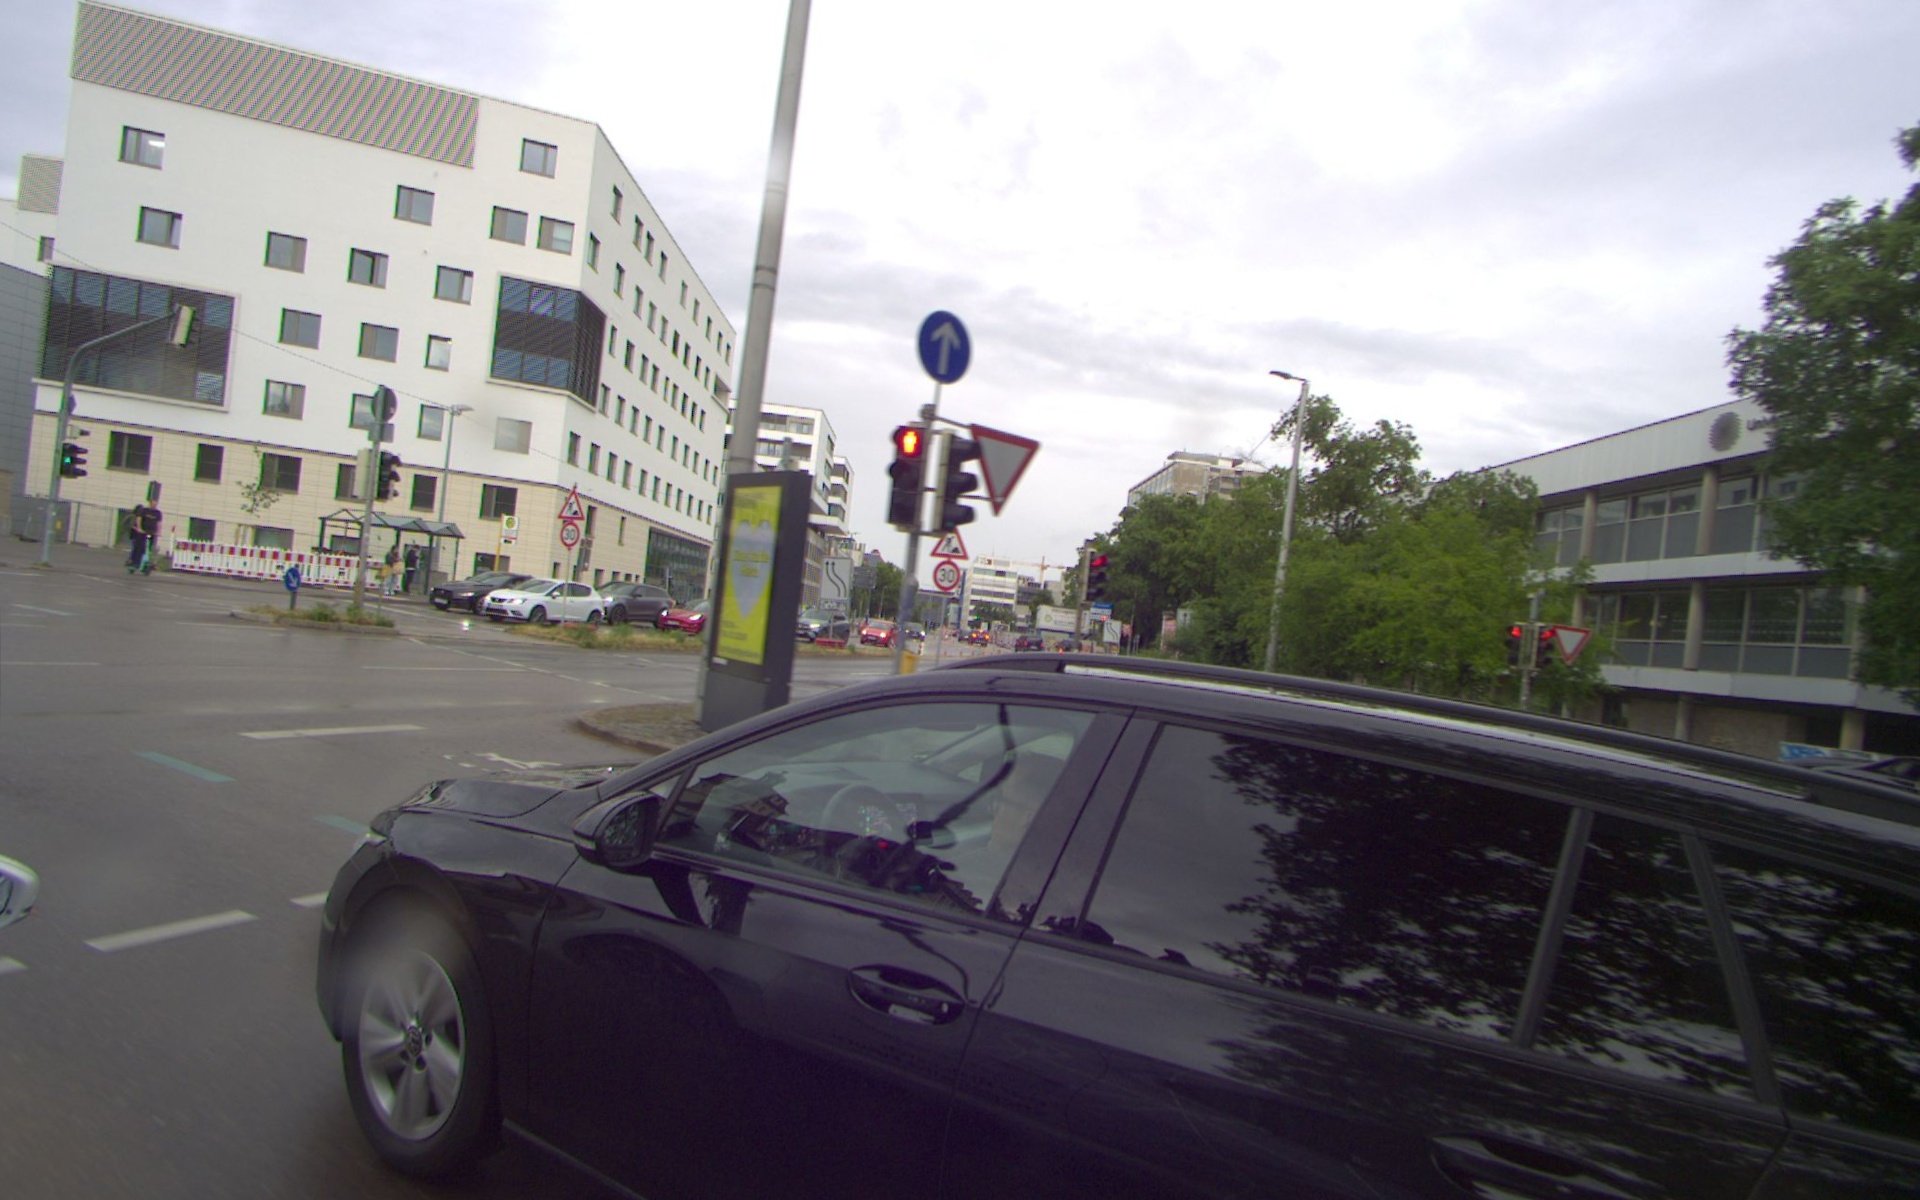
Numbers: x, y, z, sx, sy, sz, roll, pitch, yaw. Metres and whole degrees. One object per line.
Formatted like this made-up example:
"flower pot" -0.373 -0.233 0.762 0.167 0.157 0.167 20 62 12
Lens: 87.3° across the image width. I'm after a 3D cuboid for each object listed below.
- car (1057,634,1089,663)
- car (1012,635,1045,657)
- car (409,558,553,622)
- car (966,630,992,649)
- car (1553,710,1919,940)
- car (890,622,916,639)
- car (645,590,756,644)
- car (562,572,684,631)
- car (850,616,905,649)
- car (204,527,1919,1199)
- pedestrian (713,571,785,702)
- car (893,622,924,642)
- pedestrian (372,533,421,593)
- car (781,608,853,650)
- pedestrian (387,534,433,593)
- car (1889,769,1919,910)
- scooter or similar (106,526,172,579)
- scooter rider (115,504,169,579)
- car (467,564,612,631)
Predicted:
"car" 8.714 3.707 77.759 1.765 1.930 4.311 8 -1 0
"car" 6.581 4.431 97.315 1.966 1.829 4.783 8 -2 -9
"car" -15.195 -0.266 32.156 1.764 1.459 4.006 7 -3 18
"car" 2.036 4.265 109.011 1.768 1.726 4.682 8 -1 -9
"car" 8.328 2.157 9.712 1.849 1.467 3.967 8 -1 -31
"car" -5.750 3.075 101.087 1.934 1.466 4.156 8 -3 -9
"car" -9.901 0.693 38.752 1.930 1.575 4.535 7 -2 17
"car" -12.910 0.104 38.835 1.963 1.683 4.392 7 -3 21
"car" -4.758 1.945 58.946 1.929 1.466 4.166 7 -3 13
"car" 0.125 0.827 2.544 4.438 1.483 1.673 7 -1 32
"pedestrian" -3.301 0.576 15.834 0.816 1.913 1.027 7 -2 -8
"car" -4.628 2.872 89.971 1.935 1.466 4.154 8 -3 -11
"pedestrian" -19.043 -1.256 33.998 0.808 1.860 0.955 6 -2 21
"car" -6.796 1.449 48.322 1.929 1.554 4.166 7 -3 13
"pedestrian" -19.835 -1.319 36.305 0.941 1.957 1.001 4 -3 42
"car" 12.146 2.781 9.681 1.853 1.466 4.361 9 -2 -36
"scooter or similar" -22.553 -1.297 27.630 1.288 1.252 0.594 6 -2 11
"scooter rider" -22.458 -1.601 27.634 0.619 1.904 0.727 6 -2 12
"car" -12.640 -0.010 30.540 1.764 1.459 4.006 7 -3 18
